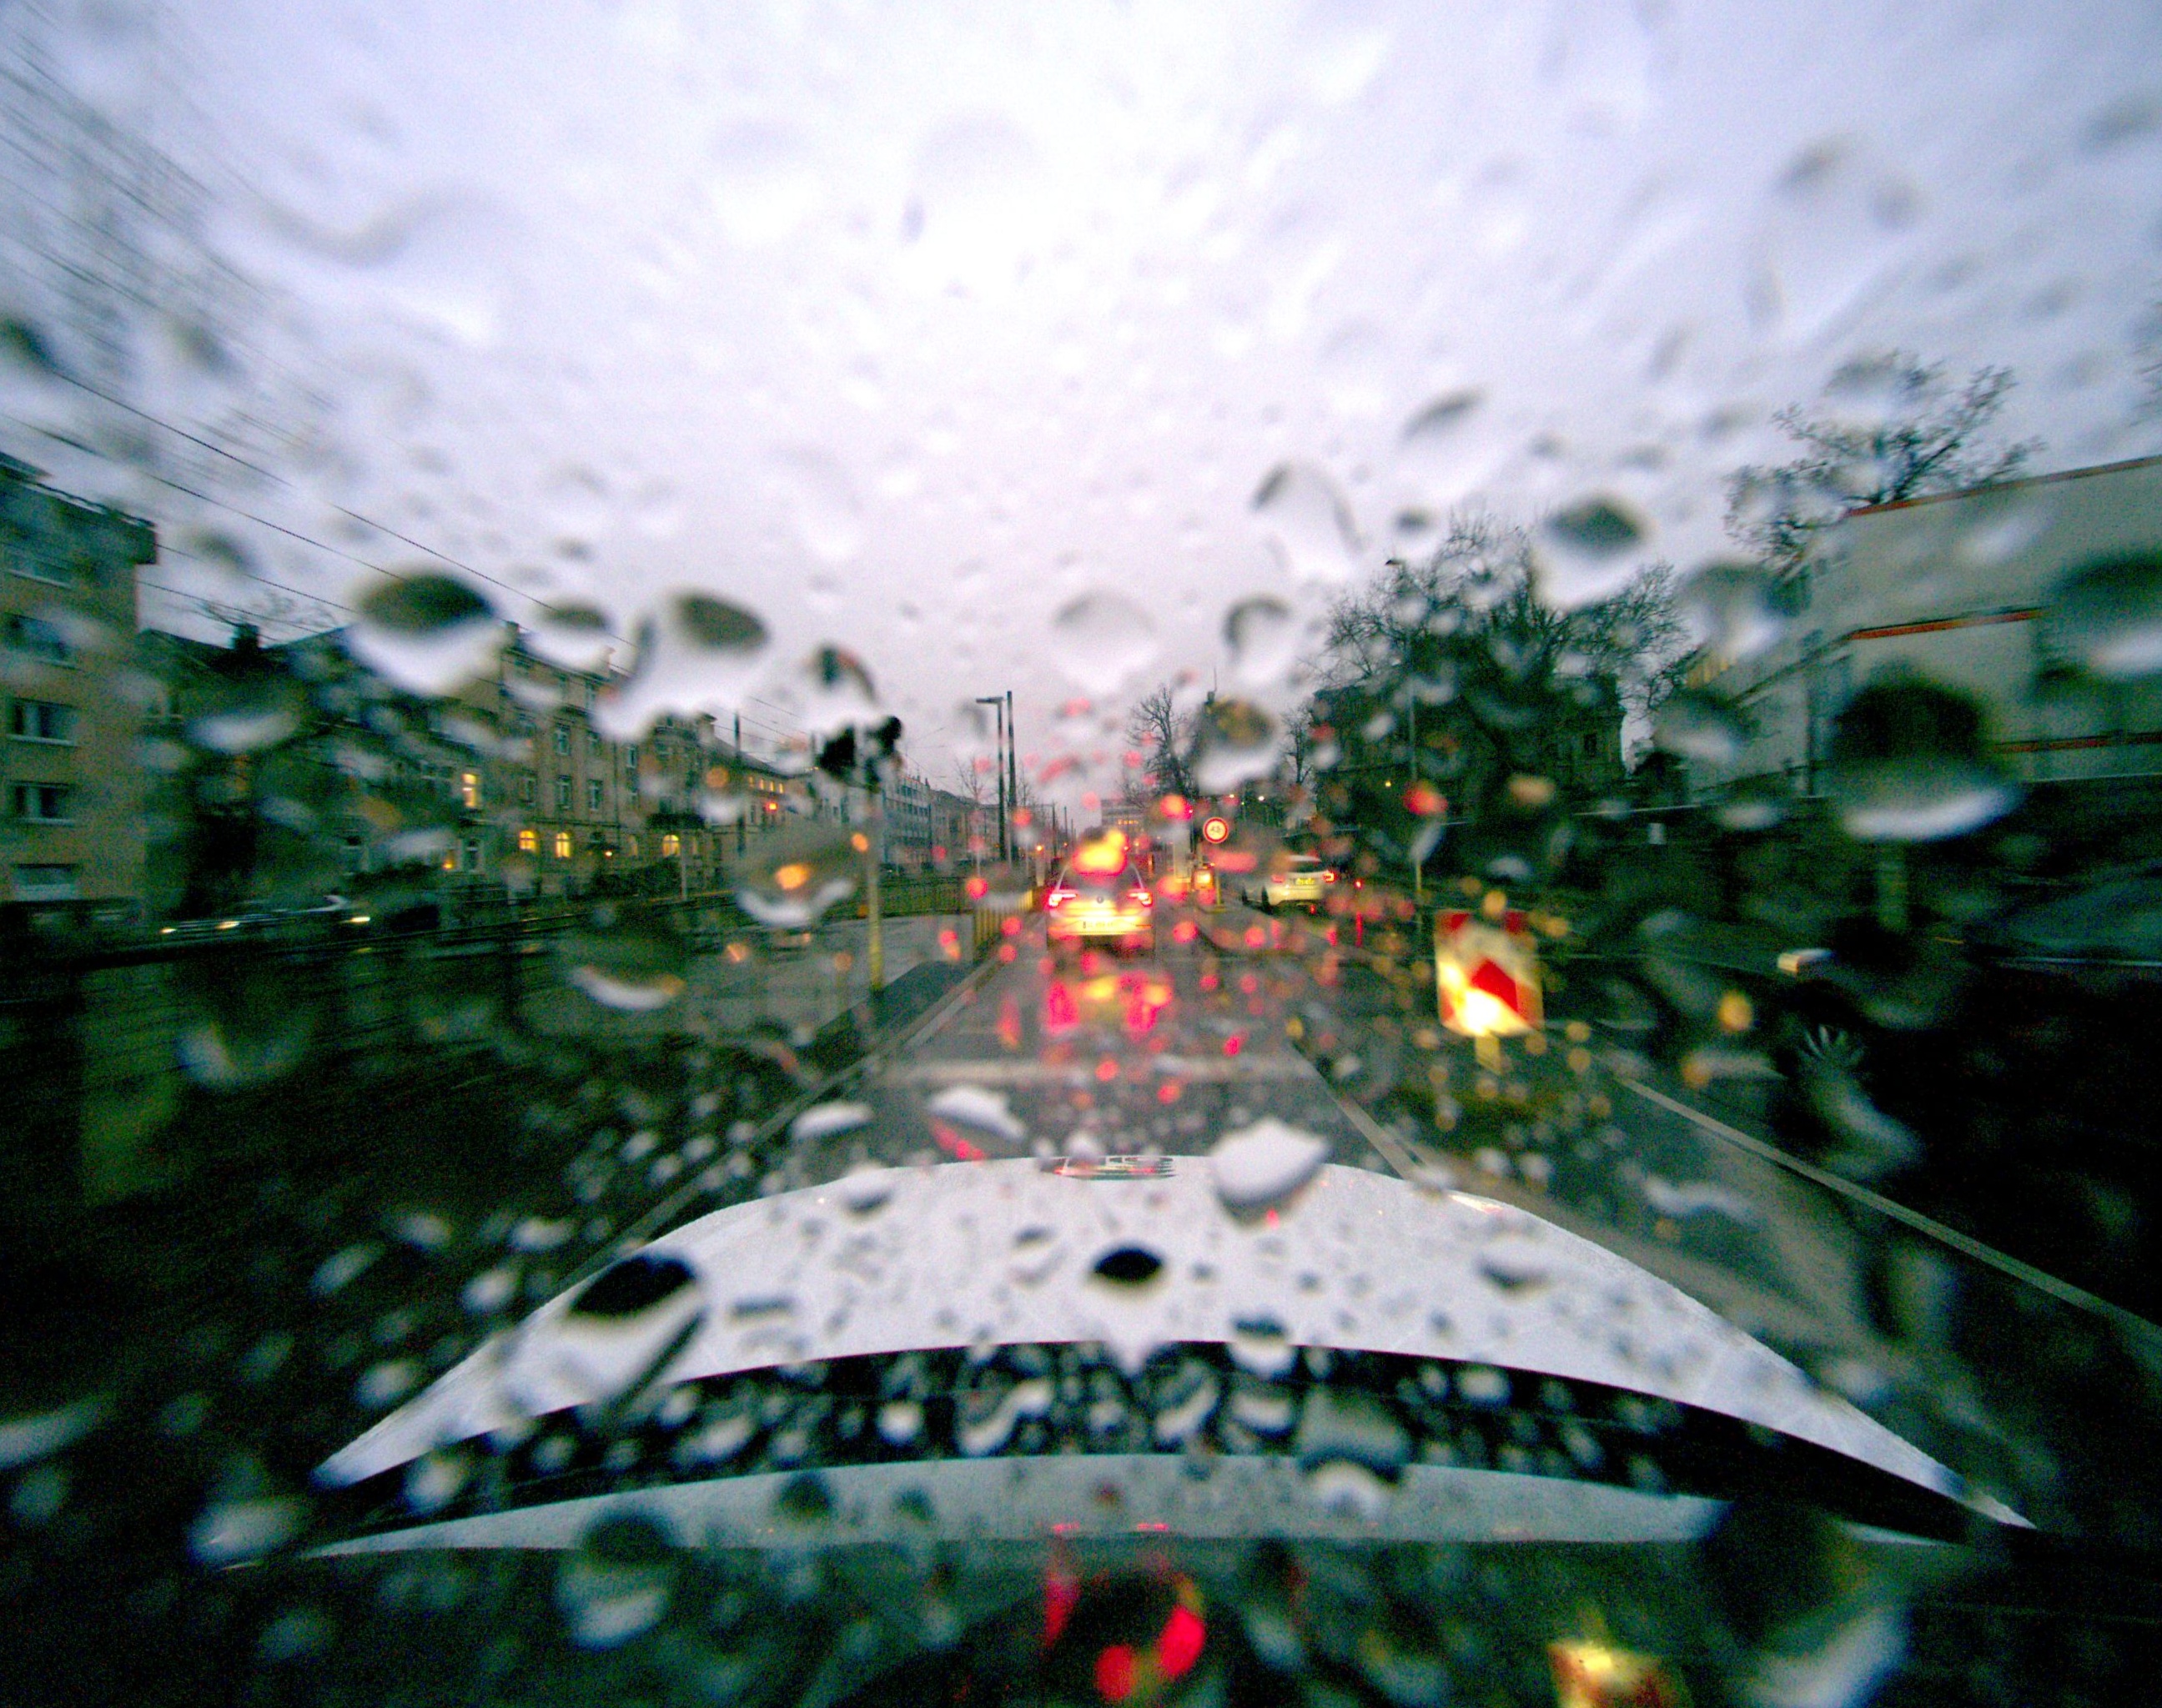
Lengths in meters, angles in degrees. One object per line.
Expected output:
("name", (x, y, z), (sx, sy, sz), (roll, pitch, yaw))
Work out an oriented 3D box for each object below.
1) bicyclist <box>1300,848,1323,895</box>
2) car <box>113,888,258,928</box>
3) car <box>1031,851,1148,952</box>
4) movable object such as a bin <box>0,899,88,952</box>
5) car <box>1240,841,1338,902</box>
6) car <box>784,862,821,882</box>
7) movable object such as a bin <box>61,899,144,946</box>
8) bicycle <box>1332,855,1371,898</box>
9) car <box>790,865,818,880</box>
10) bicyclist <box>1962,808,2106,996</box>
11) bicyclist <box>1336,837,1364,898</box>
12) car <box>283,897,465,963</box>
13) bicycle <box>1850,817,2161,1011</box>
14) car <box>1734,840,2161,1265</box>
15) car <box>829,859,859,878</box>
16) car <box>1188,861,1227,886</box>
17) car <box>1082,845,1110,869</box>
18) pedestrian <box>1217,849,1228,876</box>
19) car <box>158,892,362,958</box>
("bicyclist", (8.024, 0.606, 28.401), (0.498, 1.591, 0.837), (-2, 0, -1))
("car", (-37.727, 2.260, 34.371), (3.975, 1.406, 1.833), (-2, 0, -1))
("car", (0.195, 0.739, 14.025), (1.716, 1.479, 4.002), (0, -1, 2))
("movable object such as a bin", (-34.368, 2.343, 26.976), (1.105, 1.561, 1.424), (-3, 0, -2))
("car", (5.420, 0.443, 21.657), (1.716, 1.479, 4.002), (0, -1, 2))
("car", (-25.941, 1.661, 75.958), (1.988, 1.692, 4.109), (-3, 0, -1))
("movable object such as a bin", (-34.271, 2.380, 28.557), (1.105, 1.480, 1.424), (-3, 0, -2))
("bicycle", (8.034, 0.639, 24.277), (0.410, 1.185, 2.028), (-2, 0, -1))
("car", (-30.871, 2.080, 90.814), (1.801, 1.436, 3.925), (-3, 0, -1))
("bicyclist", (9.130, 0.424, 7.810), (0.700, 1.679, 0.809), (-2, 0, -36))
("bicyclist", (8.022, 0.407, 24.308), (0.498, 1.767, 0.837), (-2, 0, -1))
("car", (-20.472, 2.141, 23.842), (1.795, 1.585, 4.000), (0, -1, 0))
("bicycle", (9.082, 0.526, 7.907), (0.692, 1.657, 2.224), (0, -1, -32))
("car", (4.630, 0.686, 2.912), (1.713, 1.479, 4.007), (0, -1, 7))
("car", (-26.873, 1.606, 92.609), (1.988, 1.933, 4.909), (-3, 0, -1))
("car", (6.792, 1.024, 44.136), (1.617, 1.299, 4.002), (0, -1, 2))
("car", (0.986, 0.211, 52.490), (1.716, 1.479, 4.002), (0, -1, 2))
("pedestrian", (9.982, 0.607, 57.393), (0.530, 1.879, 0.900), (-3, 0, -1))
("car", (-23.491, 1.964, 23.554), (1.795, 1.585, 4.000), (0, -1, 0))
